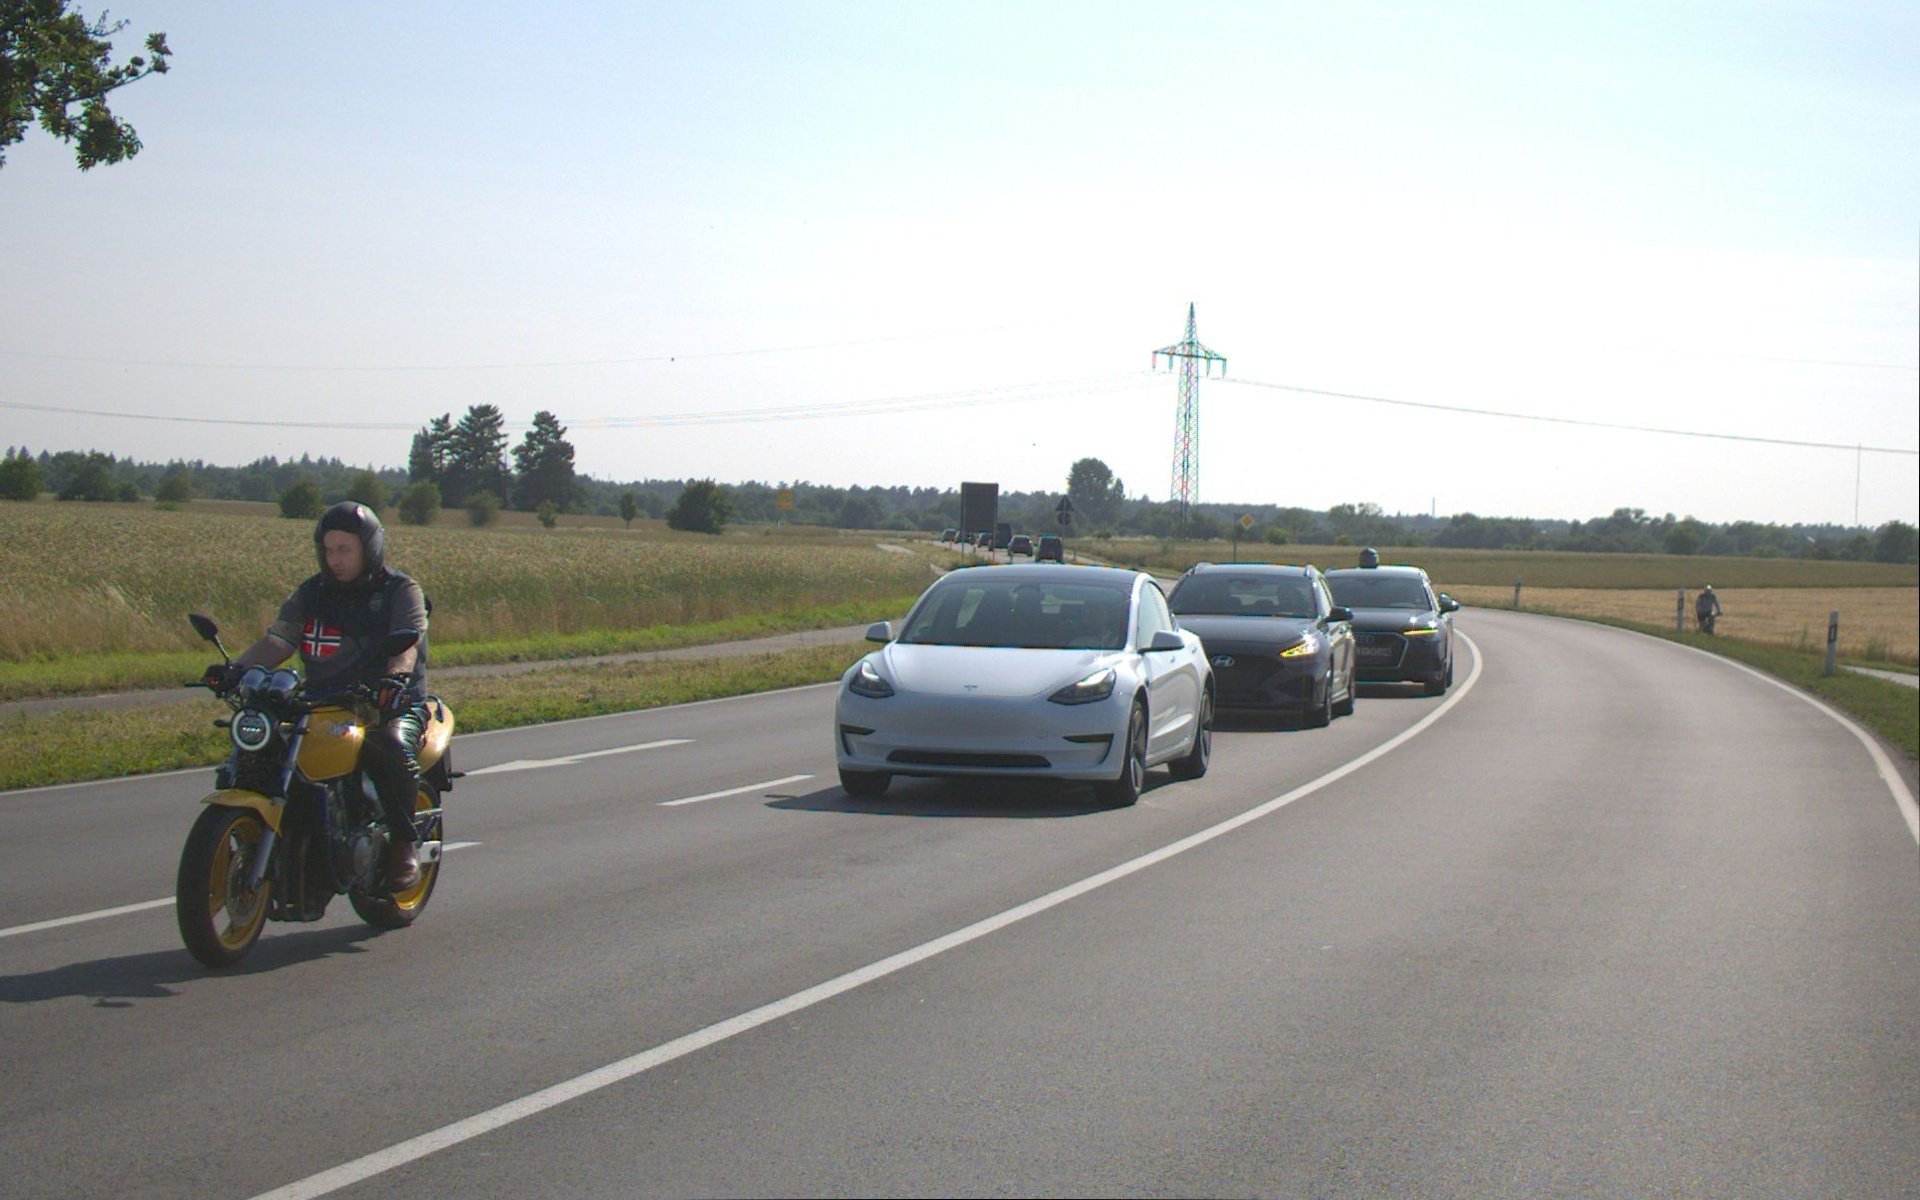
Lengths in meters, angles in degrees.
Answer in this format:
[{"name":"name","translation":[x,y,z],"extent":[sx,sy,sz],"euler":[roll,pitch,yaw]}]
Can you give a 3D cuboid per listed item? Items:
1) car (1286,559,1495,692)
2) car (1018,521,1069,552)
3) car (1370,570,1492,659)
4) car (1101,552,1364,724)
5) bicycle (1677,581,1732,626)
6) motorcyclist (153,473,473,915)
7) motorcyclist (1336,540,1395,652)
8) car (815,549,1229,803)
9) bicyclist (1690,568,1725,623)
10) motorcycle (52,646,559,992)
[{"name":"car","translation":[5.212,0.272,41.108],"extent":[1.891,1.431,4.794],"euler":[2,1,14]},{"name":"car","translation":[6.012,-4.593,248.728],"extent":[1.839,1.827,4.469],"euler":[5,2,-24]},{"name":"car","translation":[7.870,0.209,57.202],"extent":[1.687,1.398,3.998],"euler":[1,1,12]},{"name":"car","translation":[2.653,0.315,32.578],"extent":[1.891,1.456,4.303],"euler":[2,1,12]},{"name":"bicycle","translation":[20.646,0.098,95.414],"extent":[0.845,1.138,2.207],"euler":[4,1,-3]},{"name":"motorcyclist","translation":[-2.332,0.312,12.510],"extent":[0.679,1.510,1.180],"euler":[2,1,14]},{"name":"motorcyclist","translation":[5.515,-0.059,46.717],"extent":[0.678,1.490,0.846],"euler":[2,1,12]},{"name":"car","translation":[0.518,0.413,22.375],"extent":[1.891,1.461,4.273],"euler":[1,1,12]},{"name":"bicyclist","translation":[20.685,-0.128,95.178],"extent":[0.637,1.452,0.817],"euler":[4,1,-4]},{"name":"motorcycle","translation":[-2.323,0.739,12.615],"extent":[0.897,1.040,2.427],"euler":[2,1,13]}]
